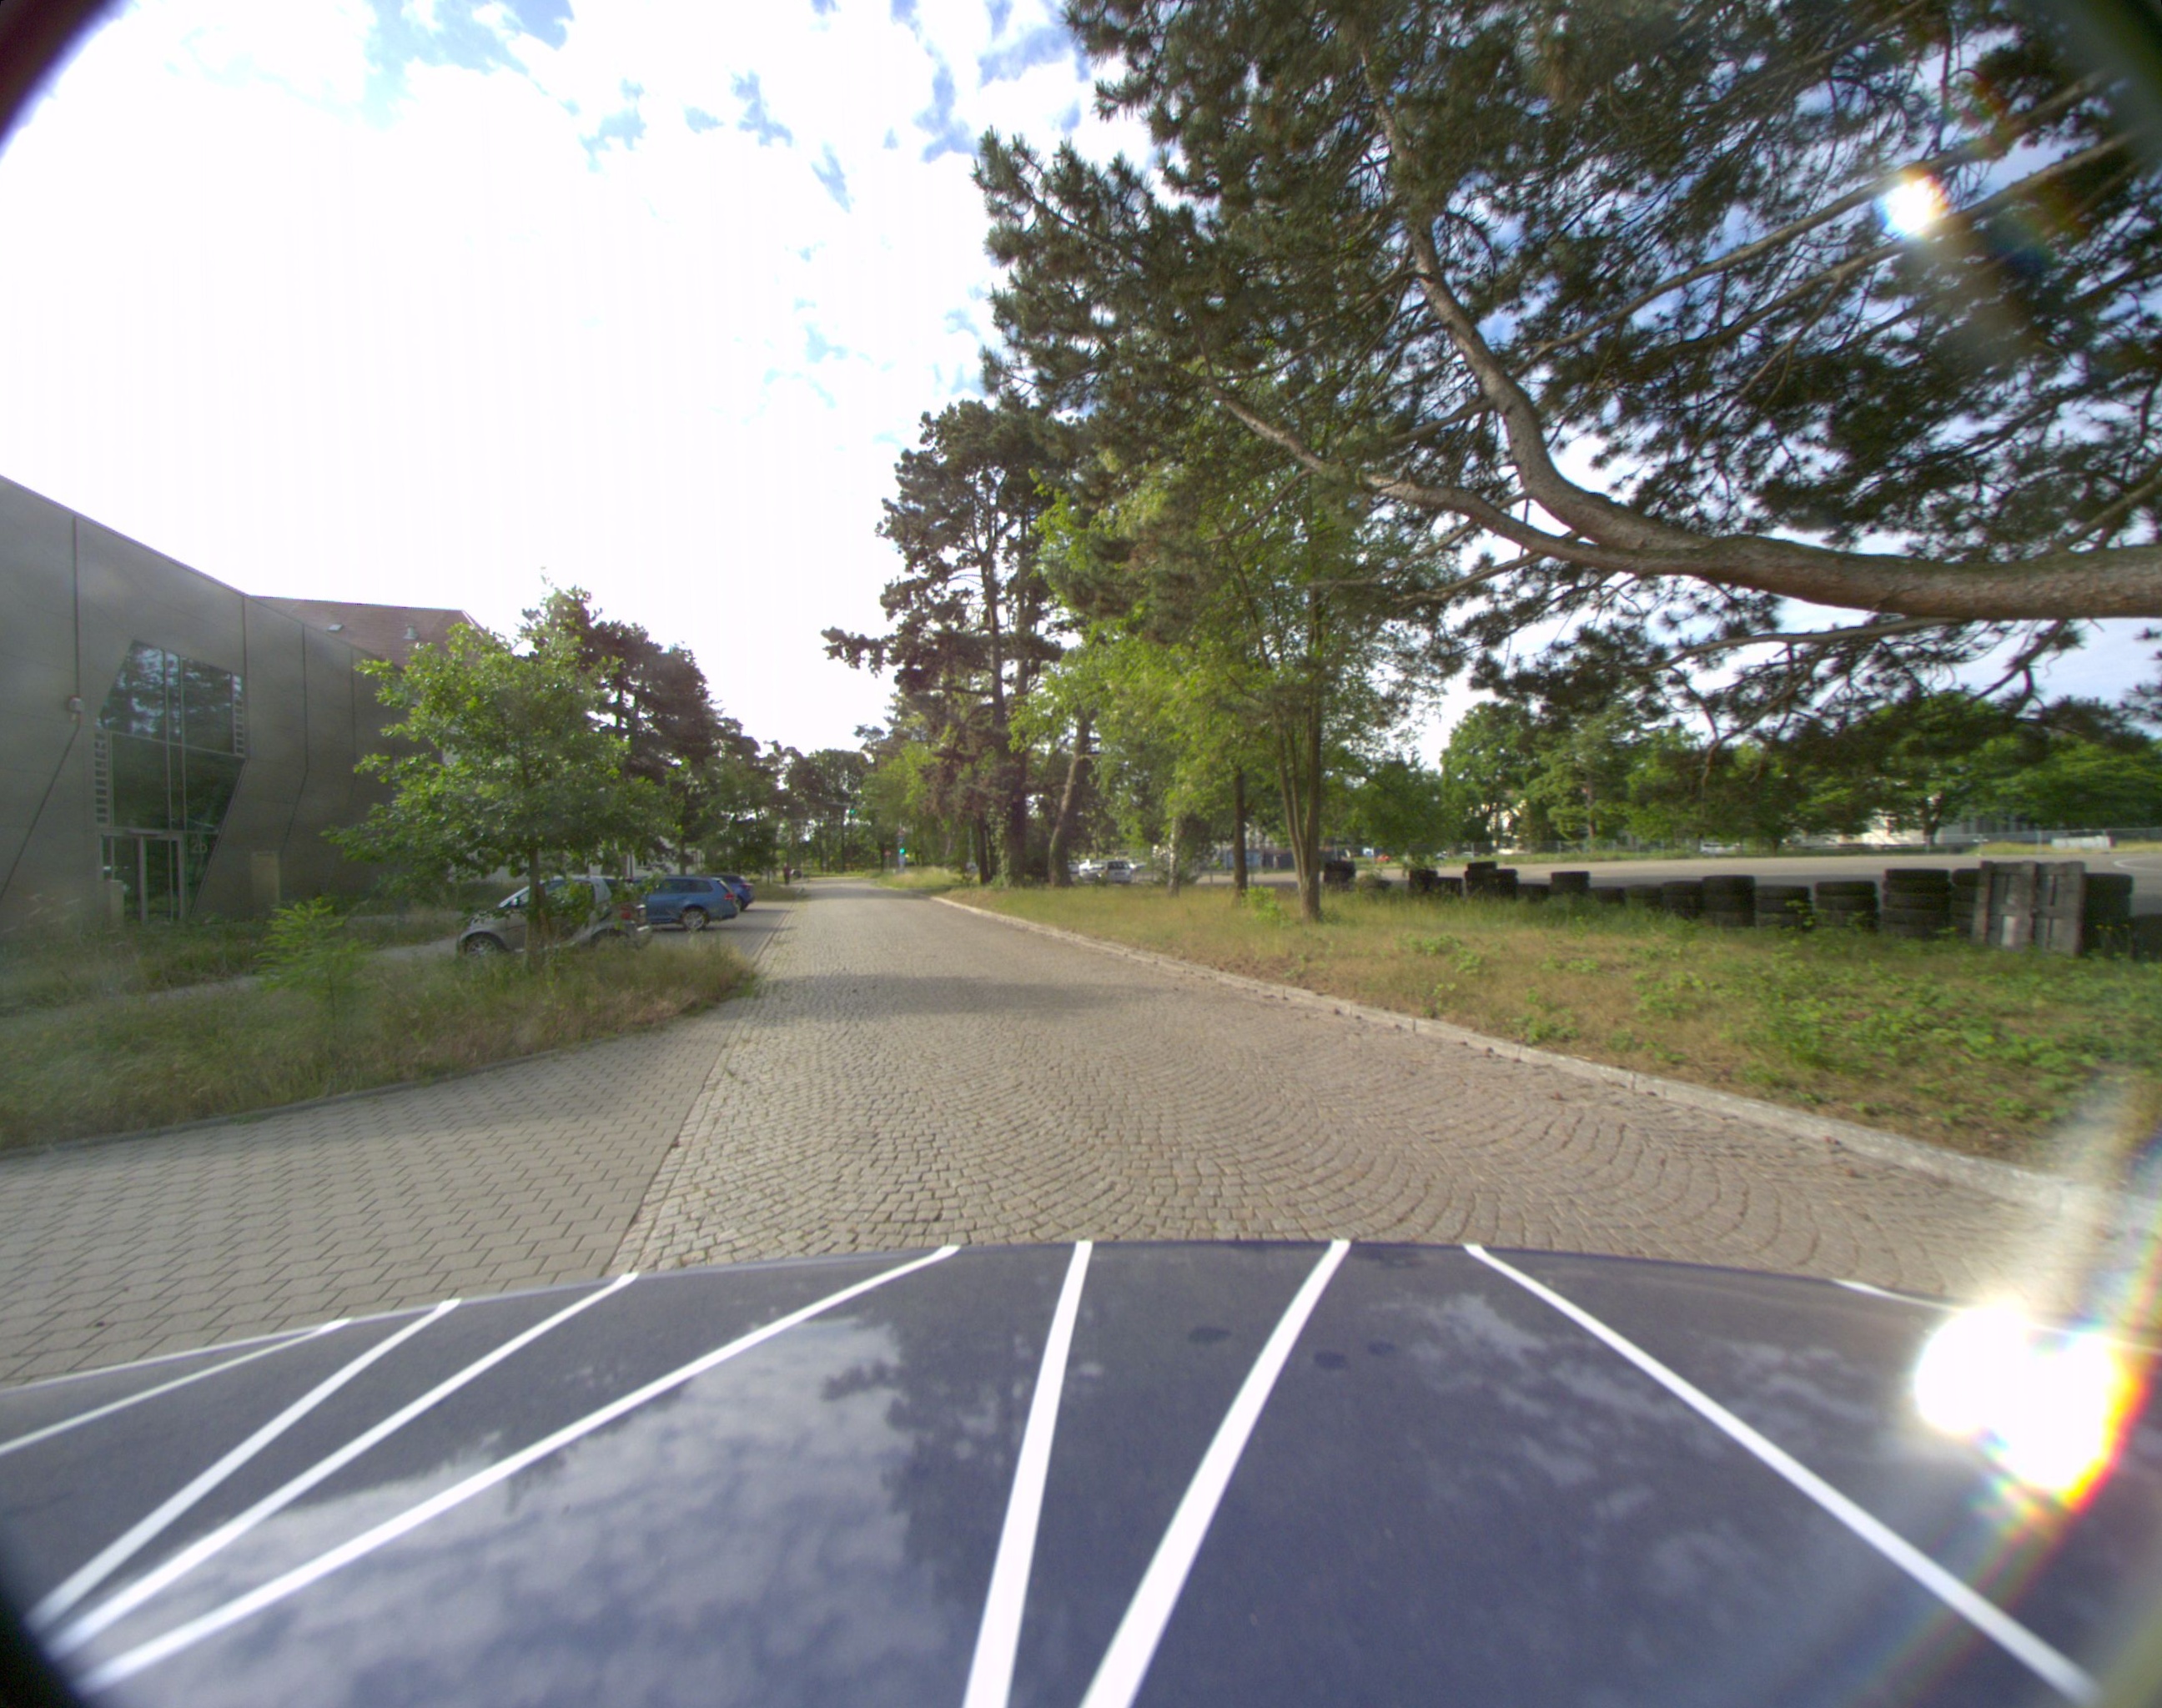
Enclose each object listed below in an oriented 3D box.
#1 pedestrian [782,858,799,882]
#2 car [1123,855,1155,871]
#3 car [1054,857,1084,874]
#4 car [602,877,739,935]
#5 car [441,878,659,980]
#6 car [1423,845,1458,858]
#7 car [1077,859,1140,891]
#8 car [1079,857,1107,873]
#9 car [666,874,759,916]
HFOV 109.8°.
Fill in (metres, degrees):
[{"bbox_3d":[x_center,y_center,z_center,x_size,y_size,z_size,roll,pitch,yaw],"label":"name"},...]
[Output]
[{"bbox_3d":[-22.670,1.242,59.261,0.960,1.833,0.953,-2,0,-33],"label":"pedestrian"},{"bbox_3d":[6.224,1.012,81.964,2.002,1.608,3.994,-2,0,-19],"label":"car"},{"bbox_3d":[-1.260,1.171,78.516,2.002,1.608,3.994,-2,0,-19],"label":"car"},{"bbox_3d":[-10.928,1.354,20.441,3.098,1.448,1.489,1,-1,-24],"label":"car"},{"bbox_3d":[-9.177,1.243,13.340,2.770,1.540,1.423,-2,0,-15],"label":"car"},{"bbox_3d":[51.355,-0.393,108.629,2.003,1.739,3.991,-2,0,-31],"label":"car"},{"bbox_3d":[1.403,1.072,39.914,1.894,1.532,3.993,-1,0,-20],"label":"car"},{"bbox_3d":[1.221,1.164,79.633,1.828,1.608,3.994,-2,0,-17],"label":"car"},{"bbox_3d":[-14.133,1.542,29.237,3.097,1.441,1.489,-2,0,-25],"label":"car"}]
